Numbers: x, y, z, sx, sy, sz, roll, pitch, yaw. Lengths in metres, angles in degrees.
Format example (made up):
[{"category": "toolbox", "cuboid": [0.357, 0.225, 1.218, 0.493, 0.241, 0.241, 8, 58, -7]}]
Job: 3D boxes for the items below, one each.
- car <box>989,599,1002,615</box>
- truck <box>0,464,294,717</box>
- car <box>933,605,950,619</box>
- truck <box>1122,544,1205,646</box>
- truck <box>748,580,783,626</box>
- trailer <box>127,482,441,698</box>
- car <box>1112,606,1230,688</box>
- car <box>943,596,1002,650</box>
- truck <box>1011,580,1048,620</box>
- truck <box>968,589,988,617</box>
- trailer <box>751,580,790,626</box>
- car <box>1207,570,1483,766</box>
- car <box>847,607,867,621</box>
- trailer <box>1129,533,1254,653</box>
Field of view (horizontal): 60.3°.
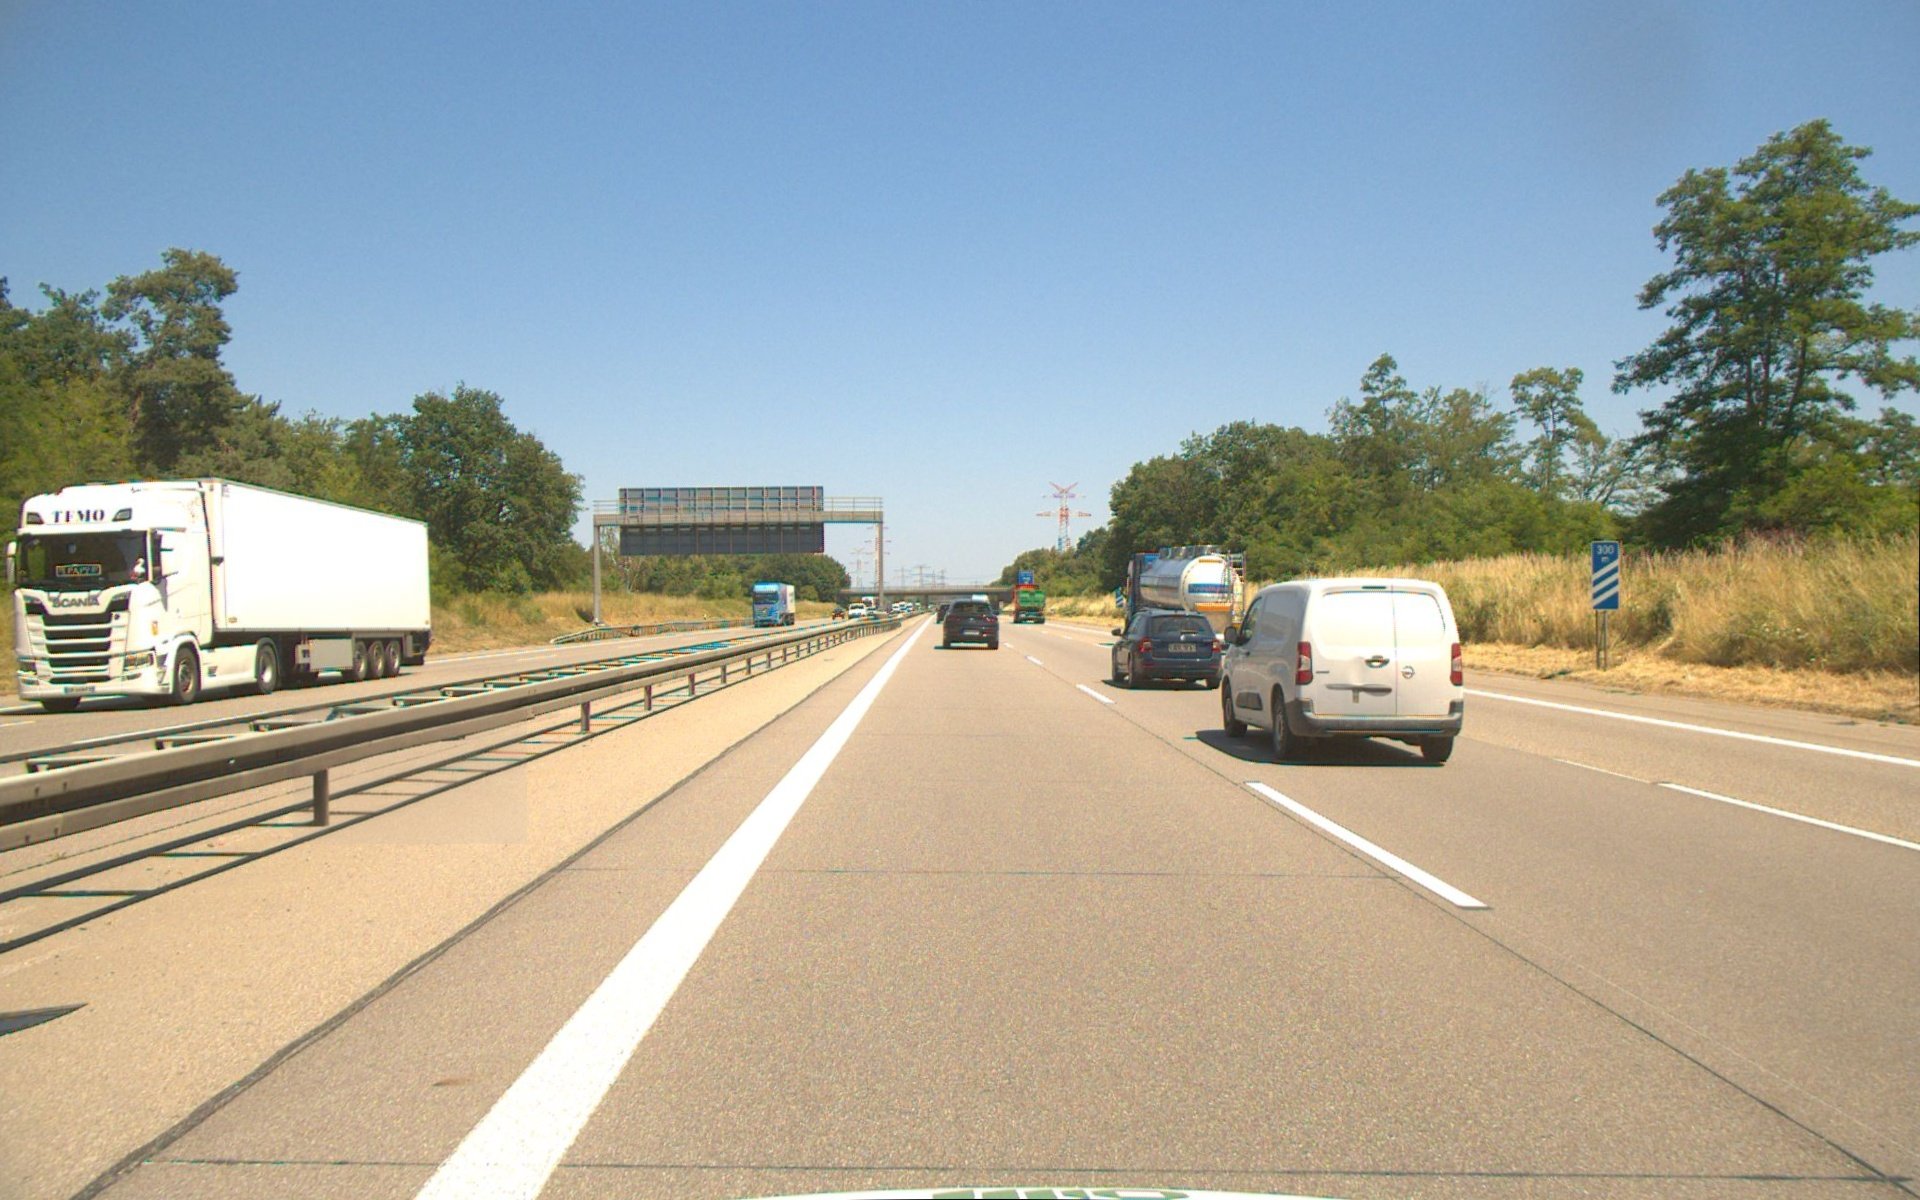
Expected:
[{"category": "car", "cuboid": [4.406, 0.863, 204.228, 1.493, 1.836, 3.624, 0, 0, -1]}, {"category": "truck", "cuboid": [-15.335, -0.168, 31.652, 2.647, 4.259, 6.187, -2, 0, -1]}, {"category": "car", "cuboid": [-1.618, 1.071, 147.153, 1.493, 1.274, 3.624, 0, 0, -1]}, {"category": "truck", "cuboid": [8.136, -0.200, 66.509, 2.628, 3.904, 4.443, 1, 0, -1]}, {"category": "truck", "cuboid": [-18.378, 0.273, 156.380, 2.647, 4.260, 4.721, -2, 0, -1]}, {"category": "trailer", "cuboid": [-15.514, -0.200, 39.380, 2.647, 4.259, 12.060, -2, 0, -1]}, {"category": "car", "cuboid": [4.048, 0.864, 32.263, 1.738, 1.498, 3.871, 0, 0, -1]}, {"category": "car", "cuboid": [0.402, 0.776, 59.610, 1.901, 1.782, 5.812, 1, 1, -2]}, {"category": "truck", "cuboid": [6.753, 0.029, 161.527, 2.928, 3.794, 10.087, 1, 0, -1]}, {"category": "truck", "cuboid": [1.944, 0.337, 183.415, 2.018, 2.965, 7.001, 0, 0, -1]}, {"category": "trailer", "cuboid": [-18.519, 0.275, 161.954, 2.647, 4.259, 10.763, -2, 0, -1]}, {"category": "car", "cuboid": [4.050, 0.656, 18.316, 1.777, 1.859, 5.109, 0, 0, -1]}, {"category": "car", "cuboid": [-11.059, 1.509, 177.535, 1.888, 1.372, 3.564, -2, 0, -1]}, {"category": "trailer", "cuboid": [8.264, -0.216, 60.727, 2.628, 3.904, 12.007, 1, 0, -1]}]
